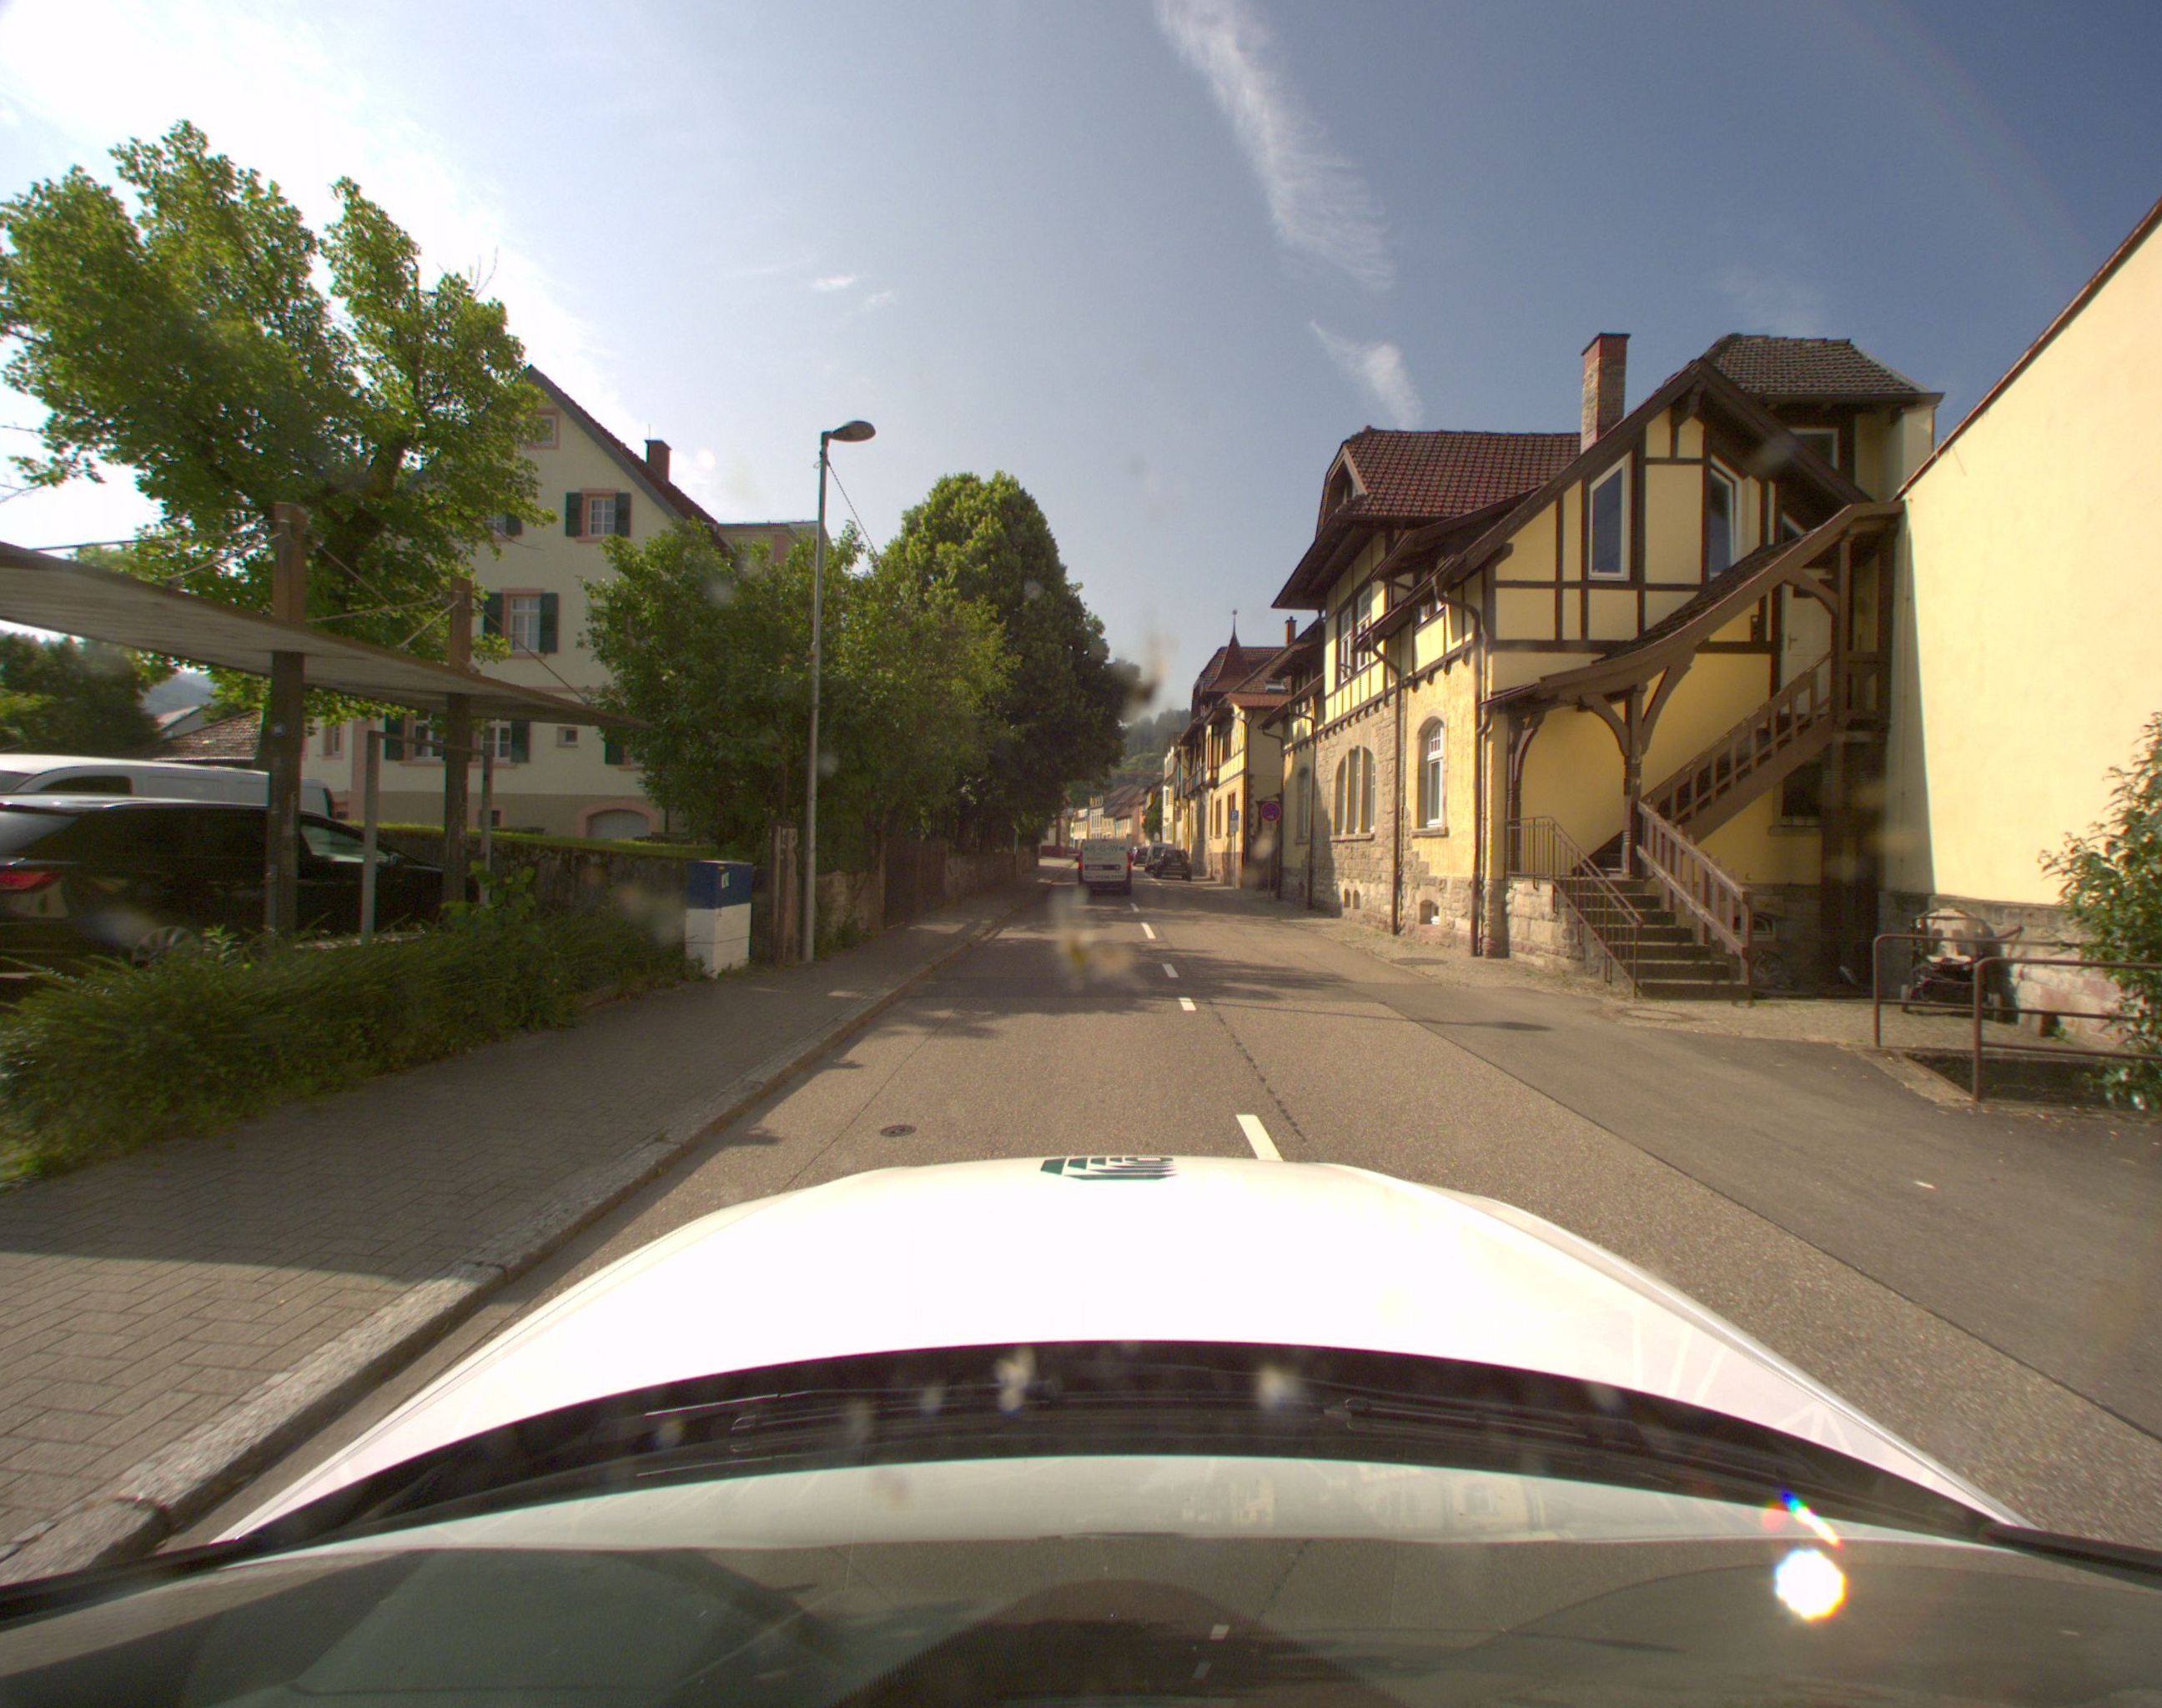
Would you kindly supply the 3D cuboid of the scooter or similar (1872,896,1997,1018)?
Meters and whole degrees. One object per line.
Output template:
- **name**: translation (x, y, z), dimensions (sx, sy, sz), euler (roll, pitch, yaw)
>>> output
- **scooter or similar**: translation (8.443, 0.979, 8.098), dimensions (0.614, 1.064, 1.017), euler (0, 0, 31)

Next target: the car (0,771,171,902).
- **car**: translation (-12.690, -0.240, 8.475), dimensions (1.808, 1.422, 4.001), euler (4, 1, 1)

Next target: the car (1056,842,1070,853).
- **car**: translation (-3.589, -1.279, 157.996), dimensions (1.994, 1.782, 3.986), euler (3, 1, -11)

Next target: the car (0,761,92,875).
- **car**: translation (-15.226, -0.529, 9.720), dimensions (1.800, 1.505, 4.002), euler (4, 1, 2)

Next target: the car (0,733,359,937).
- **car**: translation (-10.295, -0.241, 8.160), dimensions (1.817, 1.772, 4.681), euler (5, 0, 0)

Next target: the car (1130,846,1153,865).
- **car**: translation (5.136, 0.128, 69.530), dimensions (1.664, 1.508, 3.999), euler (0, 0, 0)

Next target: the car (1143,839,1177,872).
- **car**: translation (5.135, 0.072, 53.142), dimensions (1.864, 2.013, 4.001), euler (2, 0, 1)

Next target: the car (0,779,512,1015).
- **car**: translation (-7.449, 0.194, 7.181), dimensions (1.609, 1.461, 4.396), euler (3, 1, 1)

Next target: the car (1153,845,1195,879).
- **car**: translation (4.858, 0.381, 42.883), dimensions (1.804, 1.596, 3.929), euler (3, 1, 2)

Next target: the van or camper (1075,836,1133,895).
- **van or camper**: translation (0.761, 0.318, 28.111), dimensions (1.822, 1.844, 4.189), euler (-1, 1, 0)

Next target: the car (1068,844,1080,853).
- **car**: translation (-1.467, -1.055, 162.545), dimensions (1.771, 1.799, 3.987), euler (1, 0, -10)
